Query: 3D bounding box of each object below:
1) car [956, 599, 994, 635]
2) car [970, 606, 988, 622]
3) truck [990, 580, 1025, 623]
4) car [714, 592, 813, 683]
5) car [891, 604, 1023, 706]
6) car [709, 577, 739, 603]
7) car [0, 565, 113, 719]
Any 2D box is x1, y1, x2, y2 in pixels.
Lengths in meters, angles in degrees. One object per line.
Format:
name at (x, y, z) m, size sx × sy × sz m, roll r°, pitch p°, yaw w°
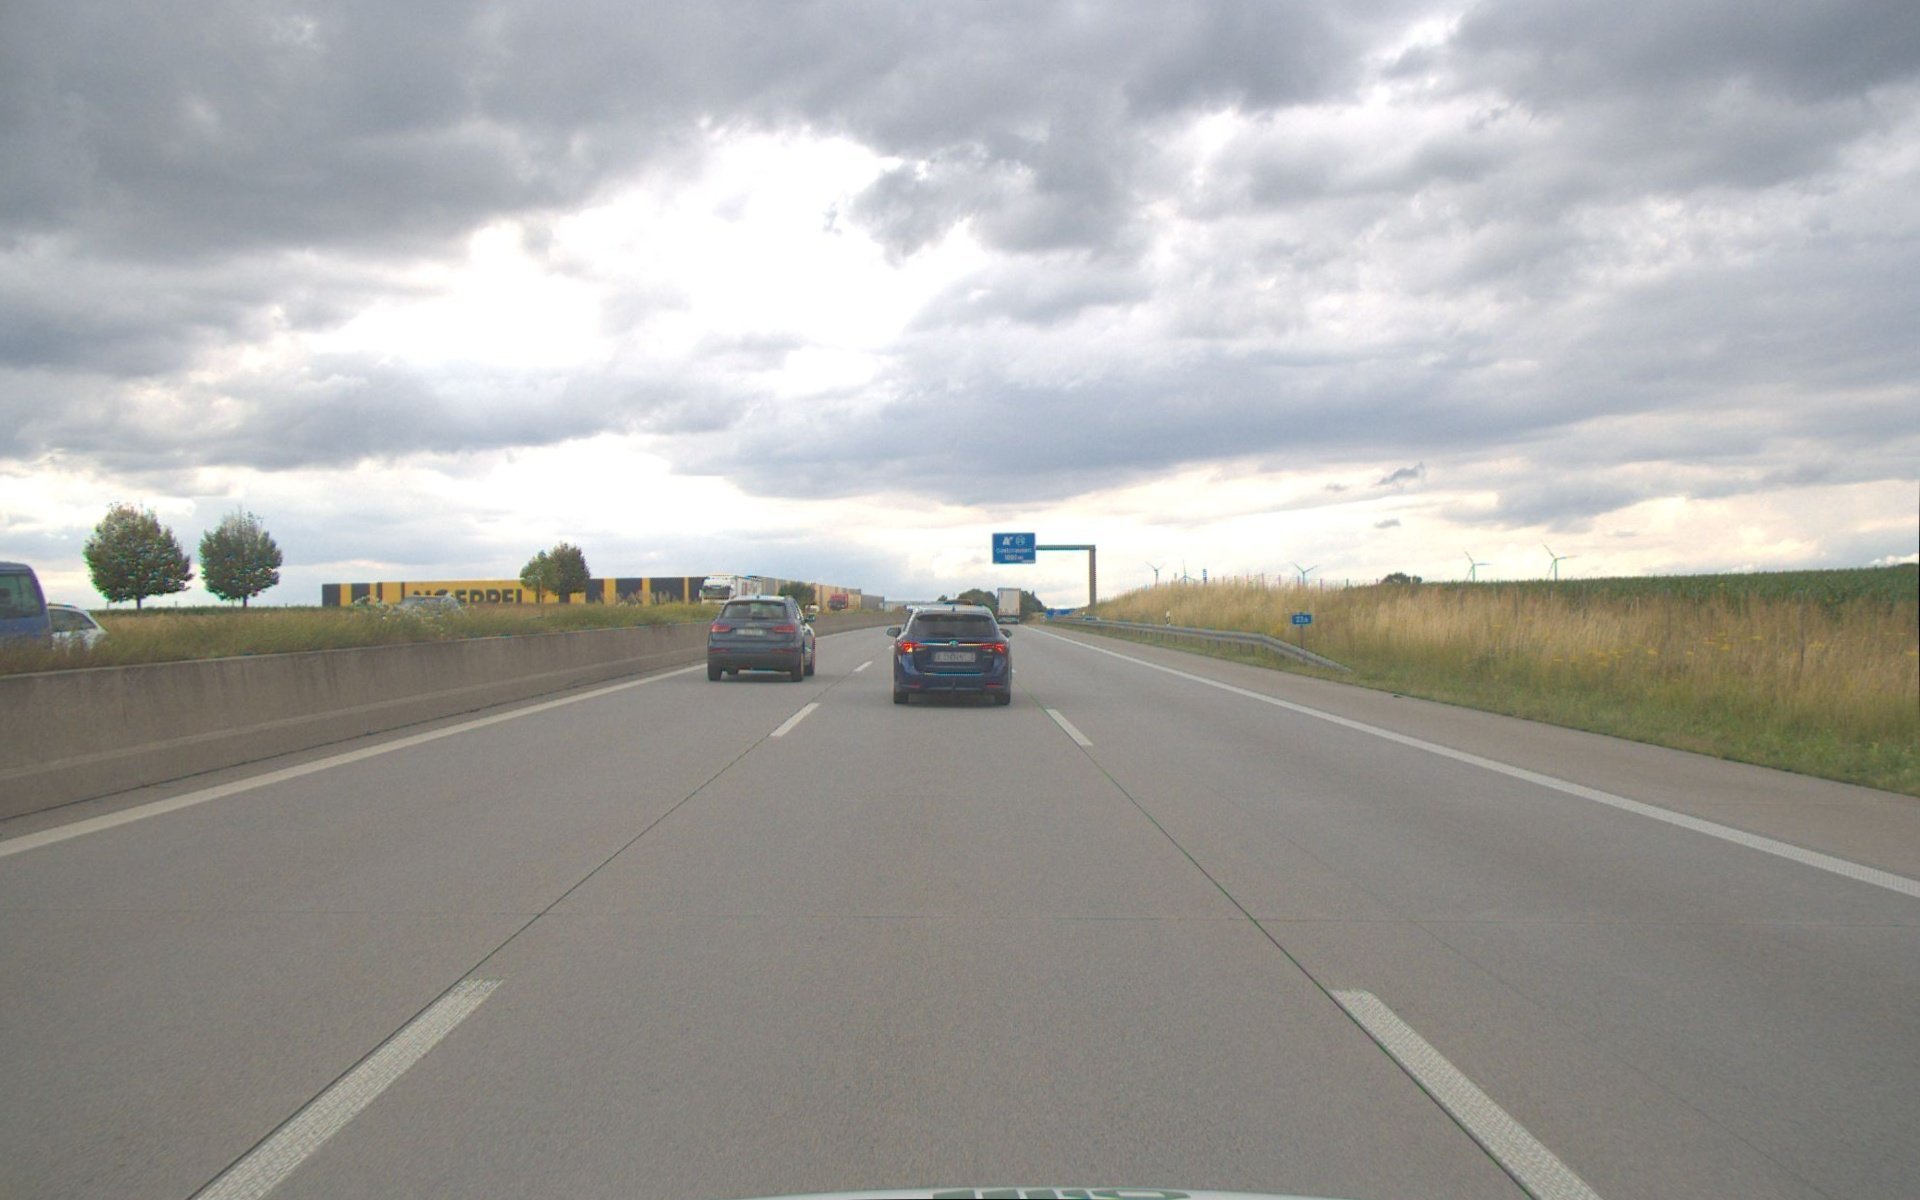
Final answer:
car at (0.859, 0.985, 97.073) m, size 1.954 × 2.049 × 3.997 m, roll 1°, pitch -1°, yaw -3°
car at (2.425, 1.866, 214.937) m, size 1.954 × 2.049 × 3.996 m, roll 1°, pitch -1°, yaw -4°
truck at (5.631, 0.276, 192.944) m, size 3.868 × 4.839 × 12.078 m, roll 1°, pitch -1°, yaw 2°
car at (-3.821, 0.674, 32.586) m, size 1.758 × 1.624 × 5.150 m, roll 1°, pitch 0°, yaw -6°
car at (-0.124, 0.793, 25.390) m, size 1.740 × 1.438 × 3.996 m, roll 1°, pitch 0°, yaw -4°
car at (-19.449, -0.809, 136.402) m, size 1.953 × 2.049 × 3.999 m, roll 1°, pitch -1°, yaw -1°
car at (-11.937, 0.469, 19.345) m, size 1.953 × 1.758 × 4.108 m, roll 1°, pitch -1°, yaw -1°
